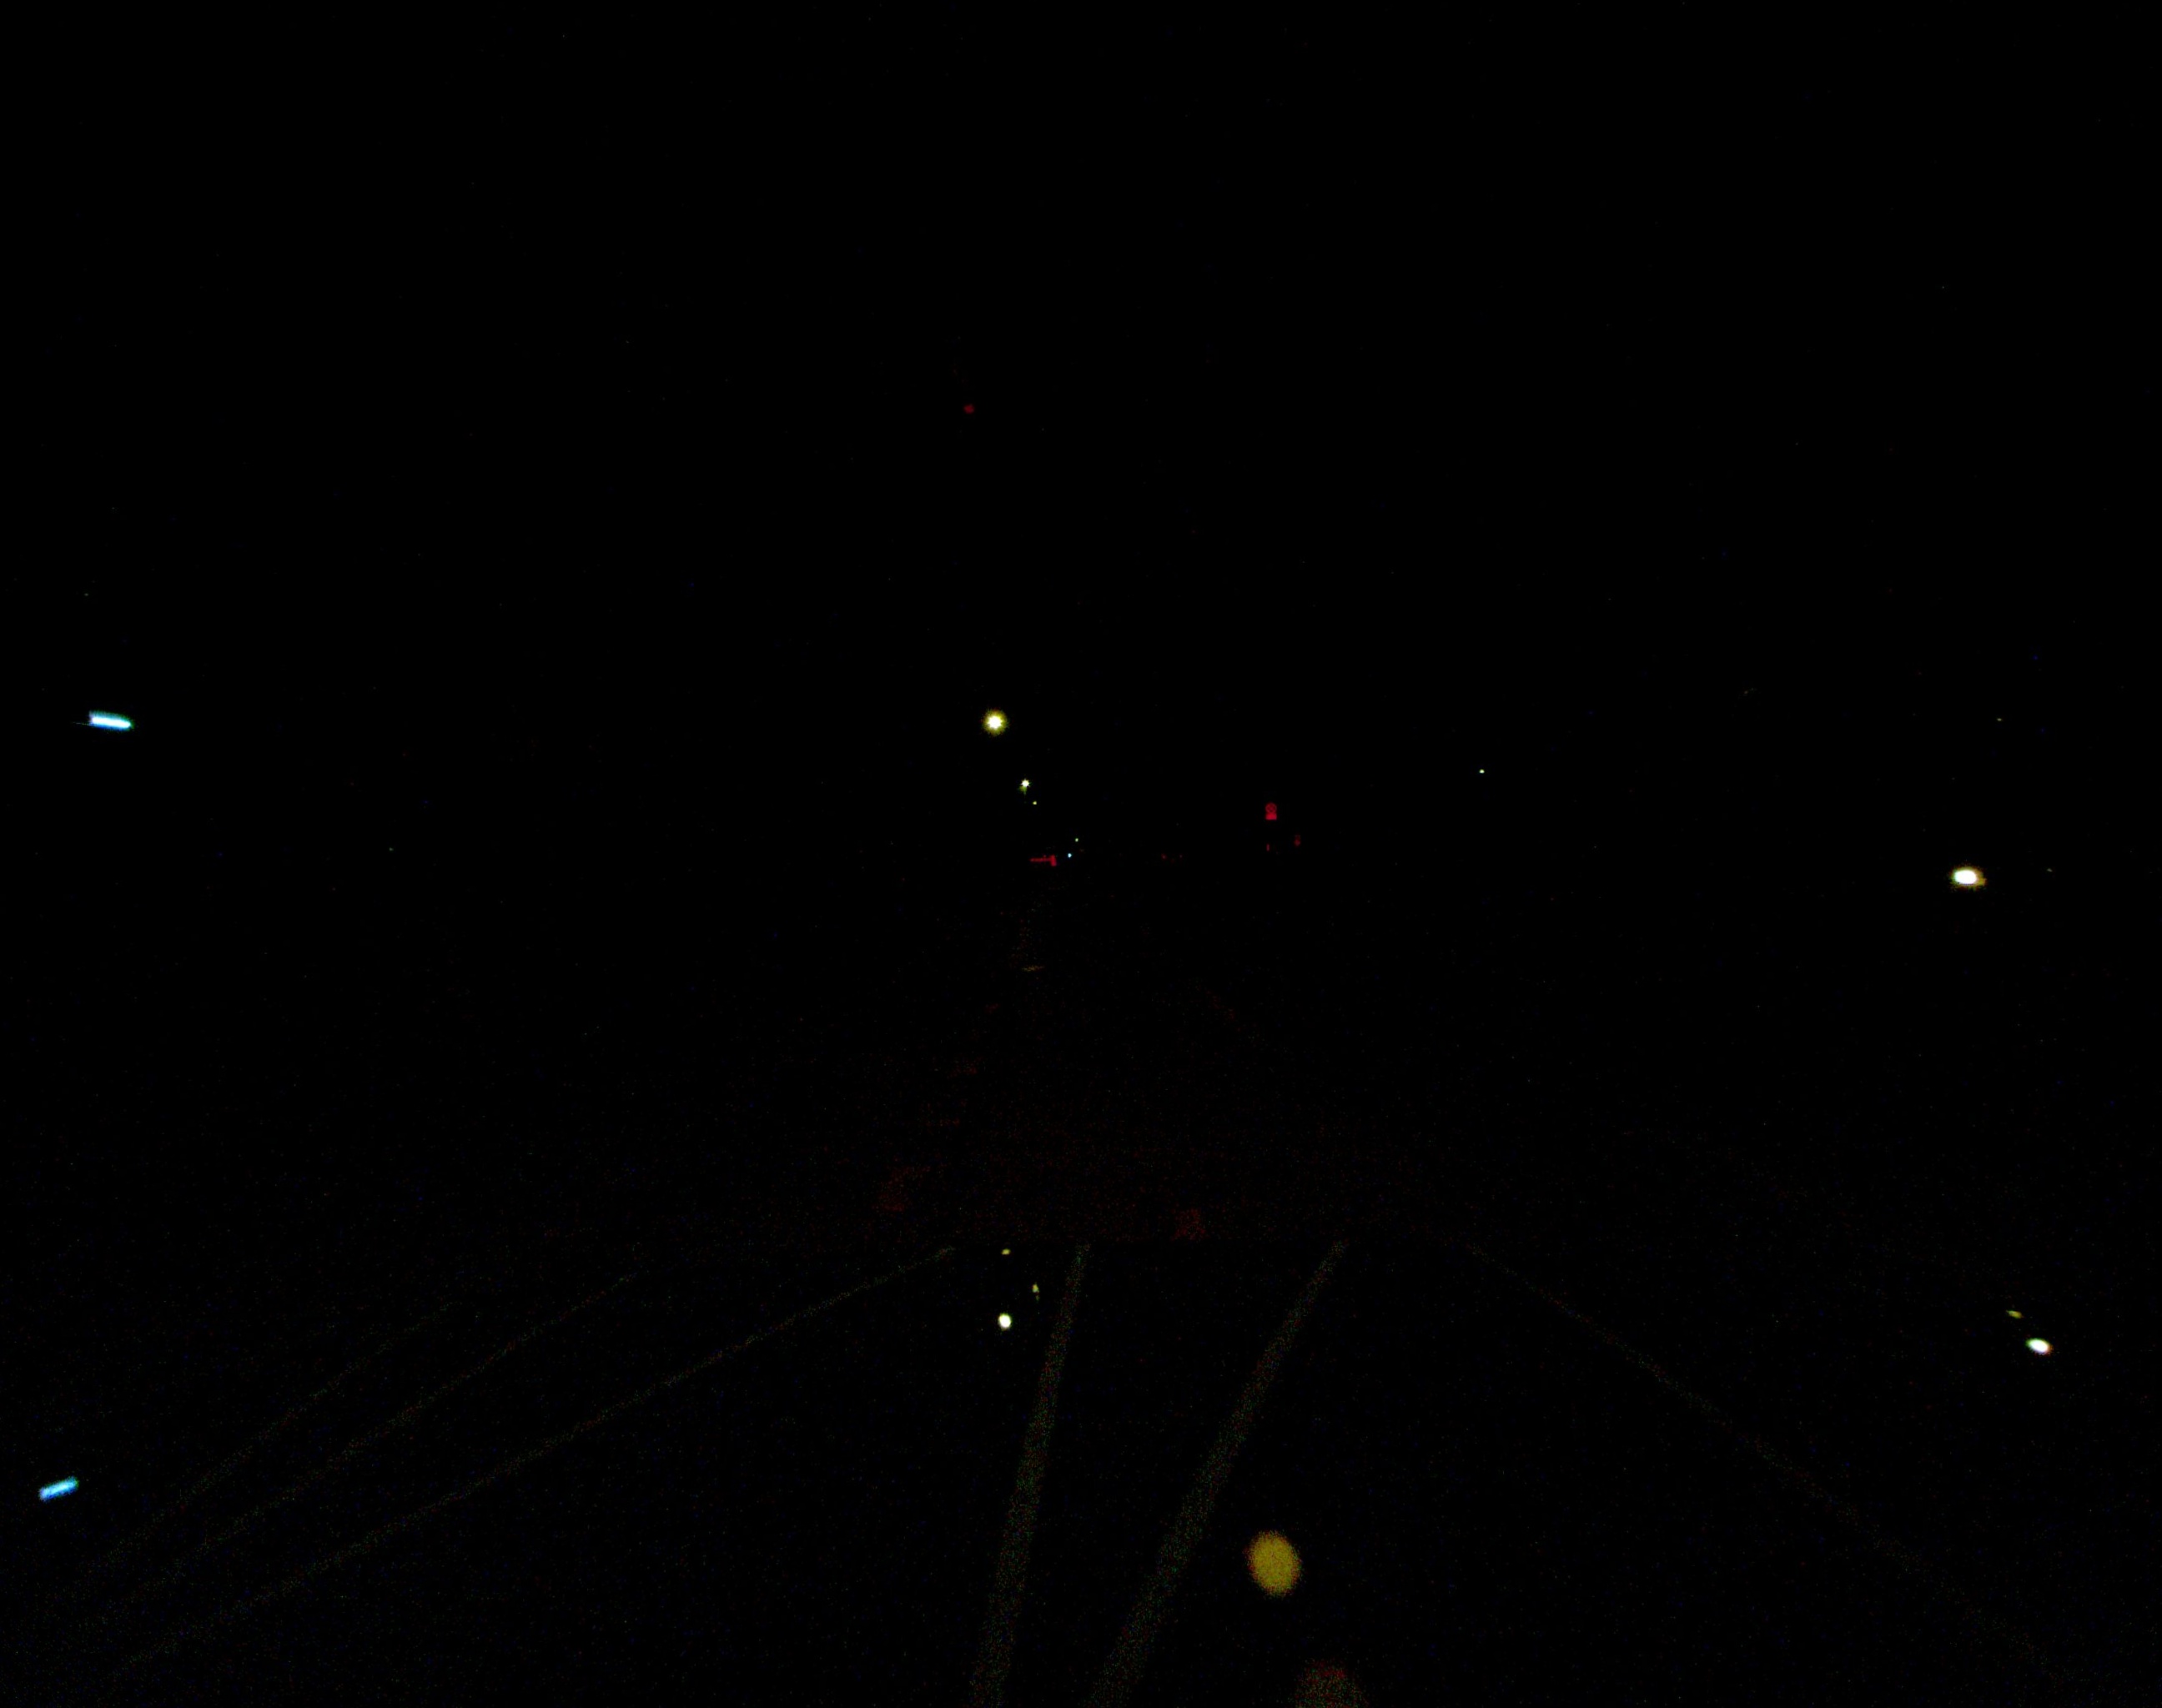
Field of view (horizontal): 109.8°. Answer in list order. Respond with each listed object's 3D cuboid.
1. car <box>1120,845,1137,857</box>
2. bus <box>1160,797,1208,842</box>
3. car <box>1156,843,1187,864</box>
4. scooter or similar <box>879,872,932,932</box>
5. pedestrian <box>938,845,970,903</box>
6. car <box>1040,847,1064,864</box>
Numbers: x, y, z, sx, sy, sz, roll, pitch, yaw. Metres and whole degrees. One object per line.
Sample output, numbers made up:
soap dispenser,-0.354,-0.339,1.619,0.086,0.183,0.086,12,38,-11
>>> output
car,6.252,-0.358,100.296,1.863,1.484,4.080,-2,1,1
bus,17.198,-5.635,128.970,6.135,6.898,14.781,-2,1,1
car,7.211,-0.042,60.861,1.806,1.583,3.999,-2,1,-2
scooter or similar,-3.692,0.993,16.040,0.468,1.195,1.137,-2,0,24
pedestrian,-4.221,0.648,25.358,0.819,1.854,1.034,-2,1,1
car,-2.935,0.120,78.163,1.998,1.638,4.000,0,2,4
